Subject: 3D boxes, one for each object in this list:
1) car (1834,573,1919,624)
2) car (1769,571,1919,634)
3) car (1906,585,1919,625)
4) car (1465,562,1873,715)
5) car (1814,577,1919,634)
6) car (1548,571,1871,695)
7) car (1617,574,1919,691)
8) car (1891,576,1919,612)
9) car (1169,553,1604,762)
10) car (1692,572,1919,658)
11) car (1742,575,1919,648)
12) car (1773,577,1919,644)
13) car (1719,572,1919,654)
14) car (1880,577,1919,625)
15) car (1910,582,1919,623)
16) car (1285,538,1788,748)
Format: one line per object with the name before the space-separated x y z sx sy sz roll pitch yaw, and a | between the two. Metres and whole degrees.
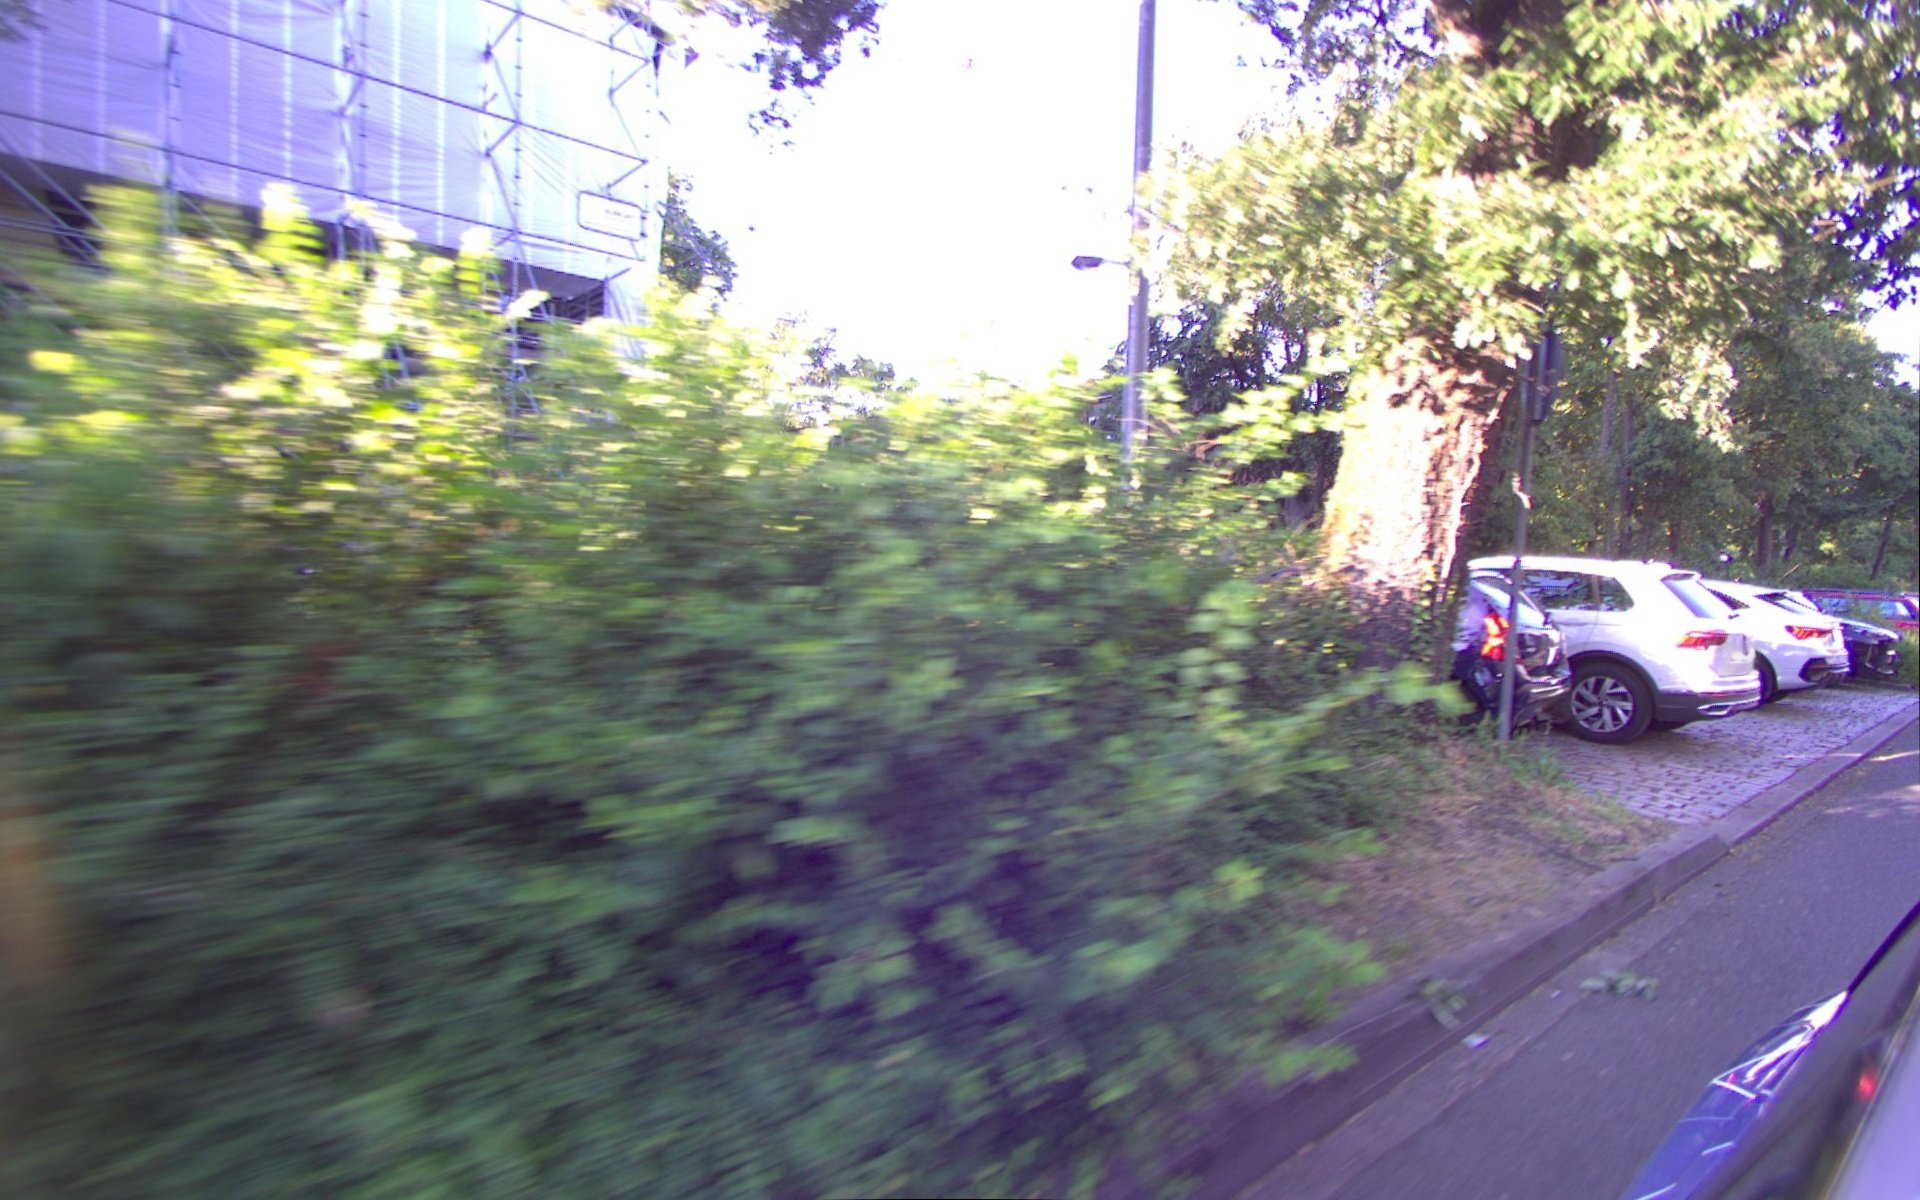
car | 32.299 -0.001 34.304 1.788 1.516 3.736 -1 6 -40
car | 26.258 0.038 29.504 1.800 1.492 3.818 -1 6 -40
car | 37.062 0.330 36.795 1.705 1.462 3.674 0 5 -42
car | 9.206 0.366 13.436 1.692 1.688 4.131 0 2 -40
car | 28.655 0.221 30.734 1.725 1.492 3.818 0 5 -40
car | 11.135 0.391 15.198 1.787 1.586 3.595 0 2 -41
car | 13.098 0.427 16.450 1.668 1.614 3.750 0 2 -42
car | 42.603 -0.217 43.630 1.642 1.544 3.393 0 3 -40
car | 3.697 0.364 9.074 1.657 1.511 3.195 0 2 -43
car | 19.010 0.291 22.297 1.712 1.493 4.347 1 4 -42
car | 22.434 0.254 25.495 1.799 1.471 3.936 0 5 -39
car | 24.652 0.286 27.159 1.801 1.492 4.129 -1 5 -42
car | 20.672 0.252 24.226 1.713 1.574 3.717 -1 5 -44
car | 34.788 0.151 35.349 1.705 1.571 3.674 0 5 -42
car | 38.683 0.252 38.402 1.643 1.543 3.618 0 5 -42
car | 5.751 0.289 10.595 1.832 1.731 4.183 0 2 -36
